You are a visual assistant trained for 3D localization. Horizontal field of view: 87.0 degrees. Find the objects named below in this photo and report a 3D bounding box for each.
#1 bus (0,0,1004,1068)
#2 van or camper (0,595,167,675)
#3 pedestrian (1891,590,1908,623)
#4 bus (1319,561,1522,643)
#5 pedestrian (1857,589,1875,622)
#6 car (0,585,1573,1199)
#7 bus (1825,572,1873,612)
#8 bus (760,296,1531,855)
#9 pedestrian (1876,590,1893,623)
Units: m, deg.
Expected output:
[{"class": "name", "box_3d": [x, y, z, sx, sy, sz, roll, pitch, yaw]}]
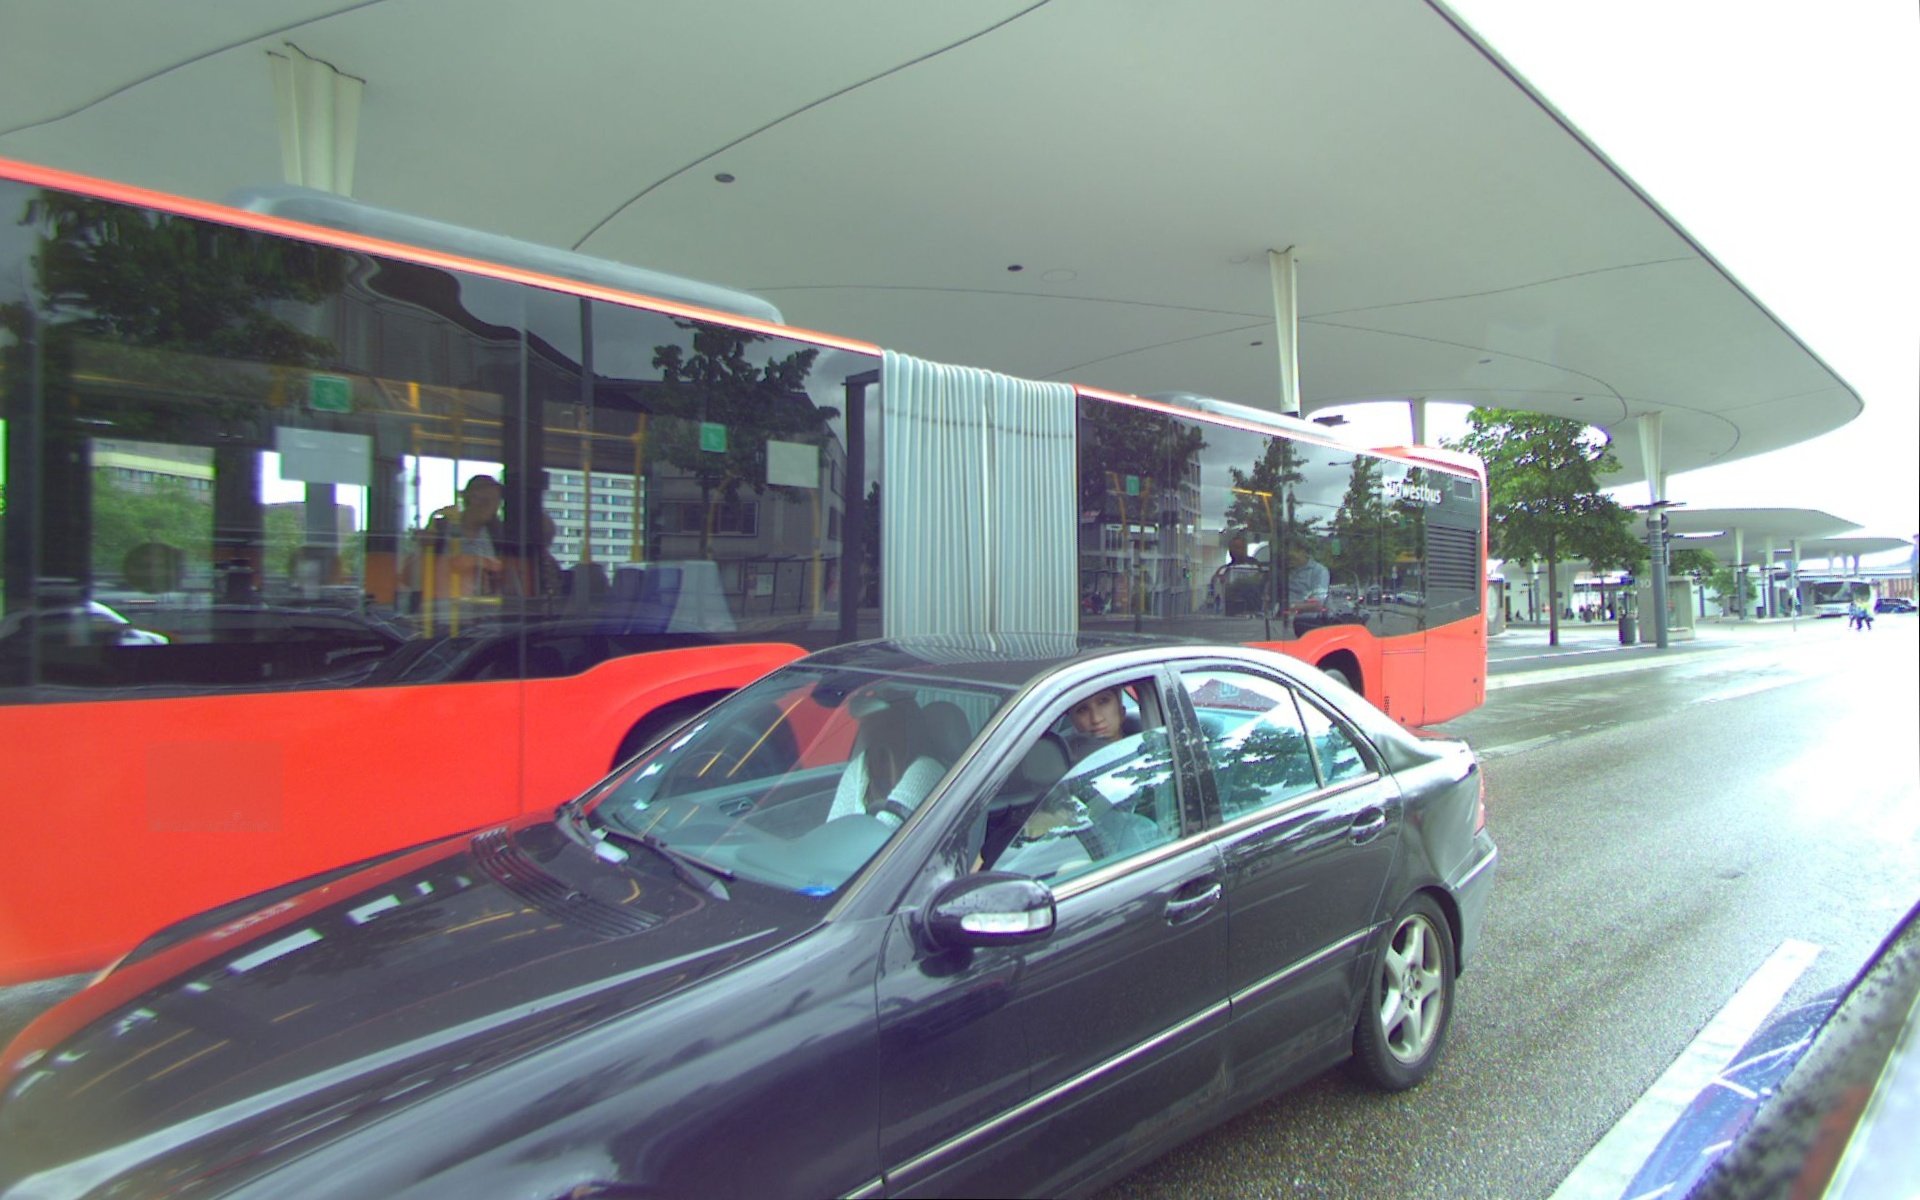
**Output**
[{"class": "bus", "box_3d": [-4.422, -0.206, 3.488, 10.016, 3.214, 2.747, 0, 0, -41]}, {"class": "van or camper", "box_3d": [-29.794, 1.097, 33.218, 5.868, 2.495, 2.106, 0, -1, -41]}, {"class": "pedestrian", "box_3d": [47.066, 0.325, 50.688, 0.543, 1.645, 0.556, 0, -1, -41]}, {"class": "bus", "box_3d": [20.128, 0.071, 43.653, 12.136, 3.146, 3.001, 0, -1, -40]}, {"class": "pedestrian", "box_3d": [46.401, 0.275, 51.835, 0.577, 1.645, 0.576, 0, -1, -41]}, {"class": "car", "box_3d": [0.036, 0.797, 3.013, 4.359, 1.499, 1.747, -2, -3, -41]}, {"class": "bus", "box_3d": [75.355, -0.662, 85.704, 2.666, 3.169, 9.565, -1, -1, 43]}, {"class": "bus", "box_3d": [2.329, -0.154, 9.490, 7.978, 3.214, 2.747, 0, 0, -41]}, {"class": "pedestrian", "box_3d": [46.756, 0.324, 51.204, 0.543, 1.645, 0.556, 0, -1, -41]}]
